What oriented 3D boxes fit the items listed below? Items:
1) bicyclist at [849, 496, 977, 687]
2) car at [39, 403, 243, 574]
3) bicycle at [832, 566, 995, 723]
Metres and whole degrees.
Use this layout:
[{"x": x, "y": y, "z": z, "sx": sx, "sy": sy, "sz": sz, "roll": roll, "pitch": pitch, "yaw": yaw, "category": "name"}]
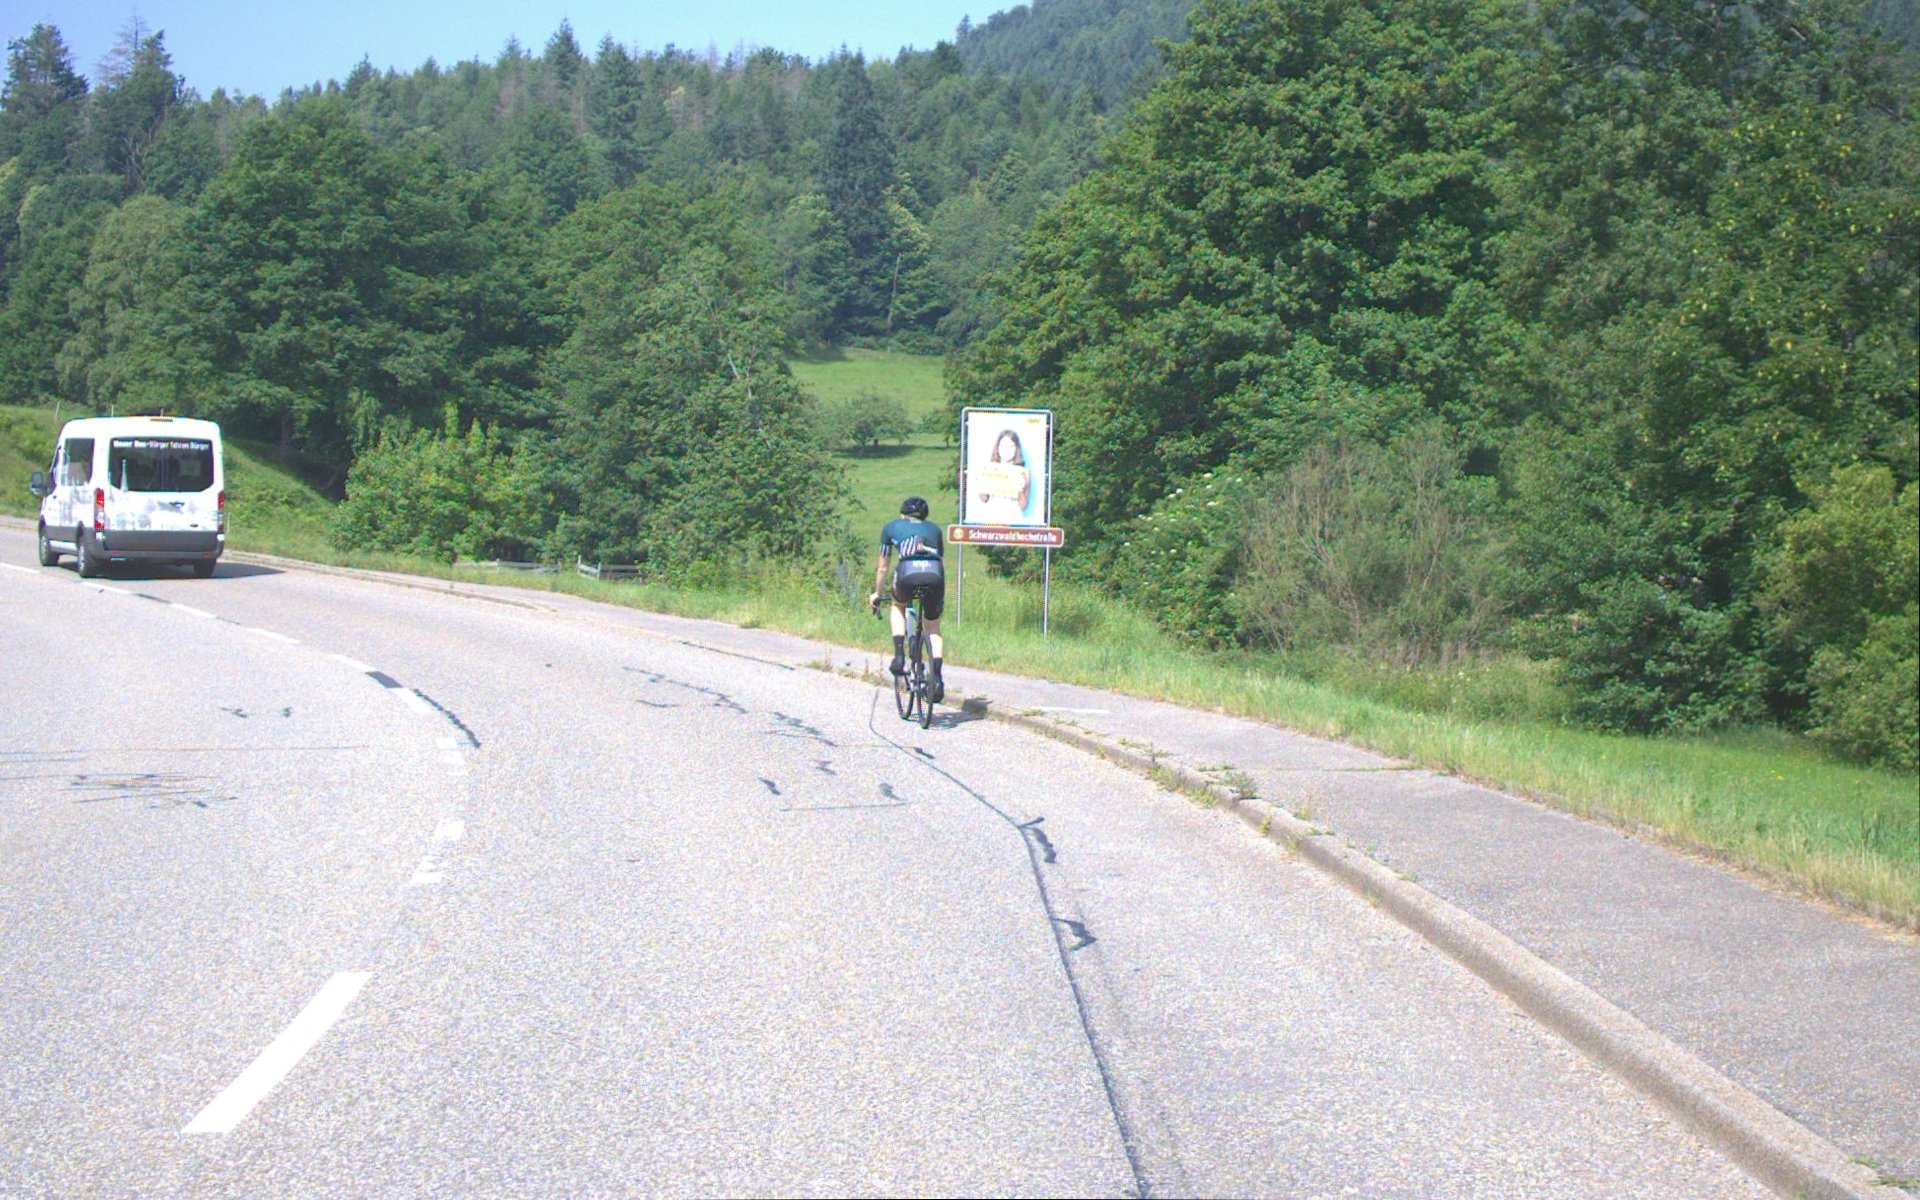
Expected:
[{"x": -0.351, "y": -0.077, "z": 25.050, "sx": 0.579, "sy": 1.338, "sz": 1.145, "roll": -2, "pitch": 2, "yaw": -19, "category": "bicyclist"}, {"x": -12.824, "y": -1.793, "z": 53.605, "sx": 2.222, "sy": 2.516, "sz": 4.986, "roll": -2, "pitch": 3, "yaw": -23, "category": "car"}, {"x": -0.360, "y": 0.303, "z": 25.166, "sx": 0.579, "sy": 1.031, "sz": 1.991, "roll": -2, "pitch": 3, "yaw": -19, "category": "bicycle"}]
